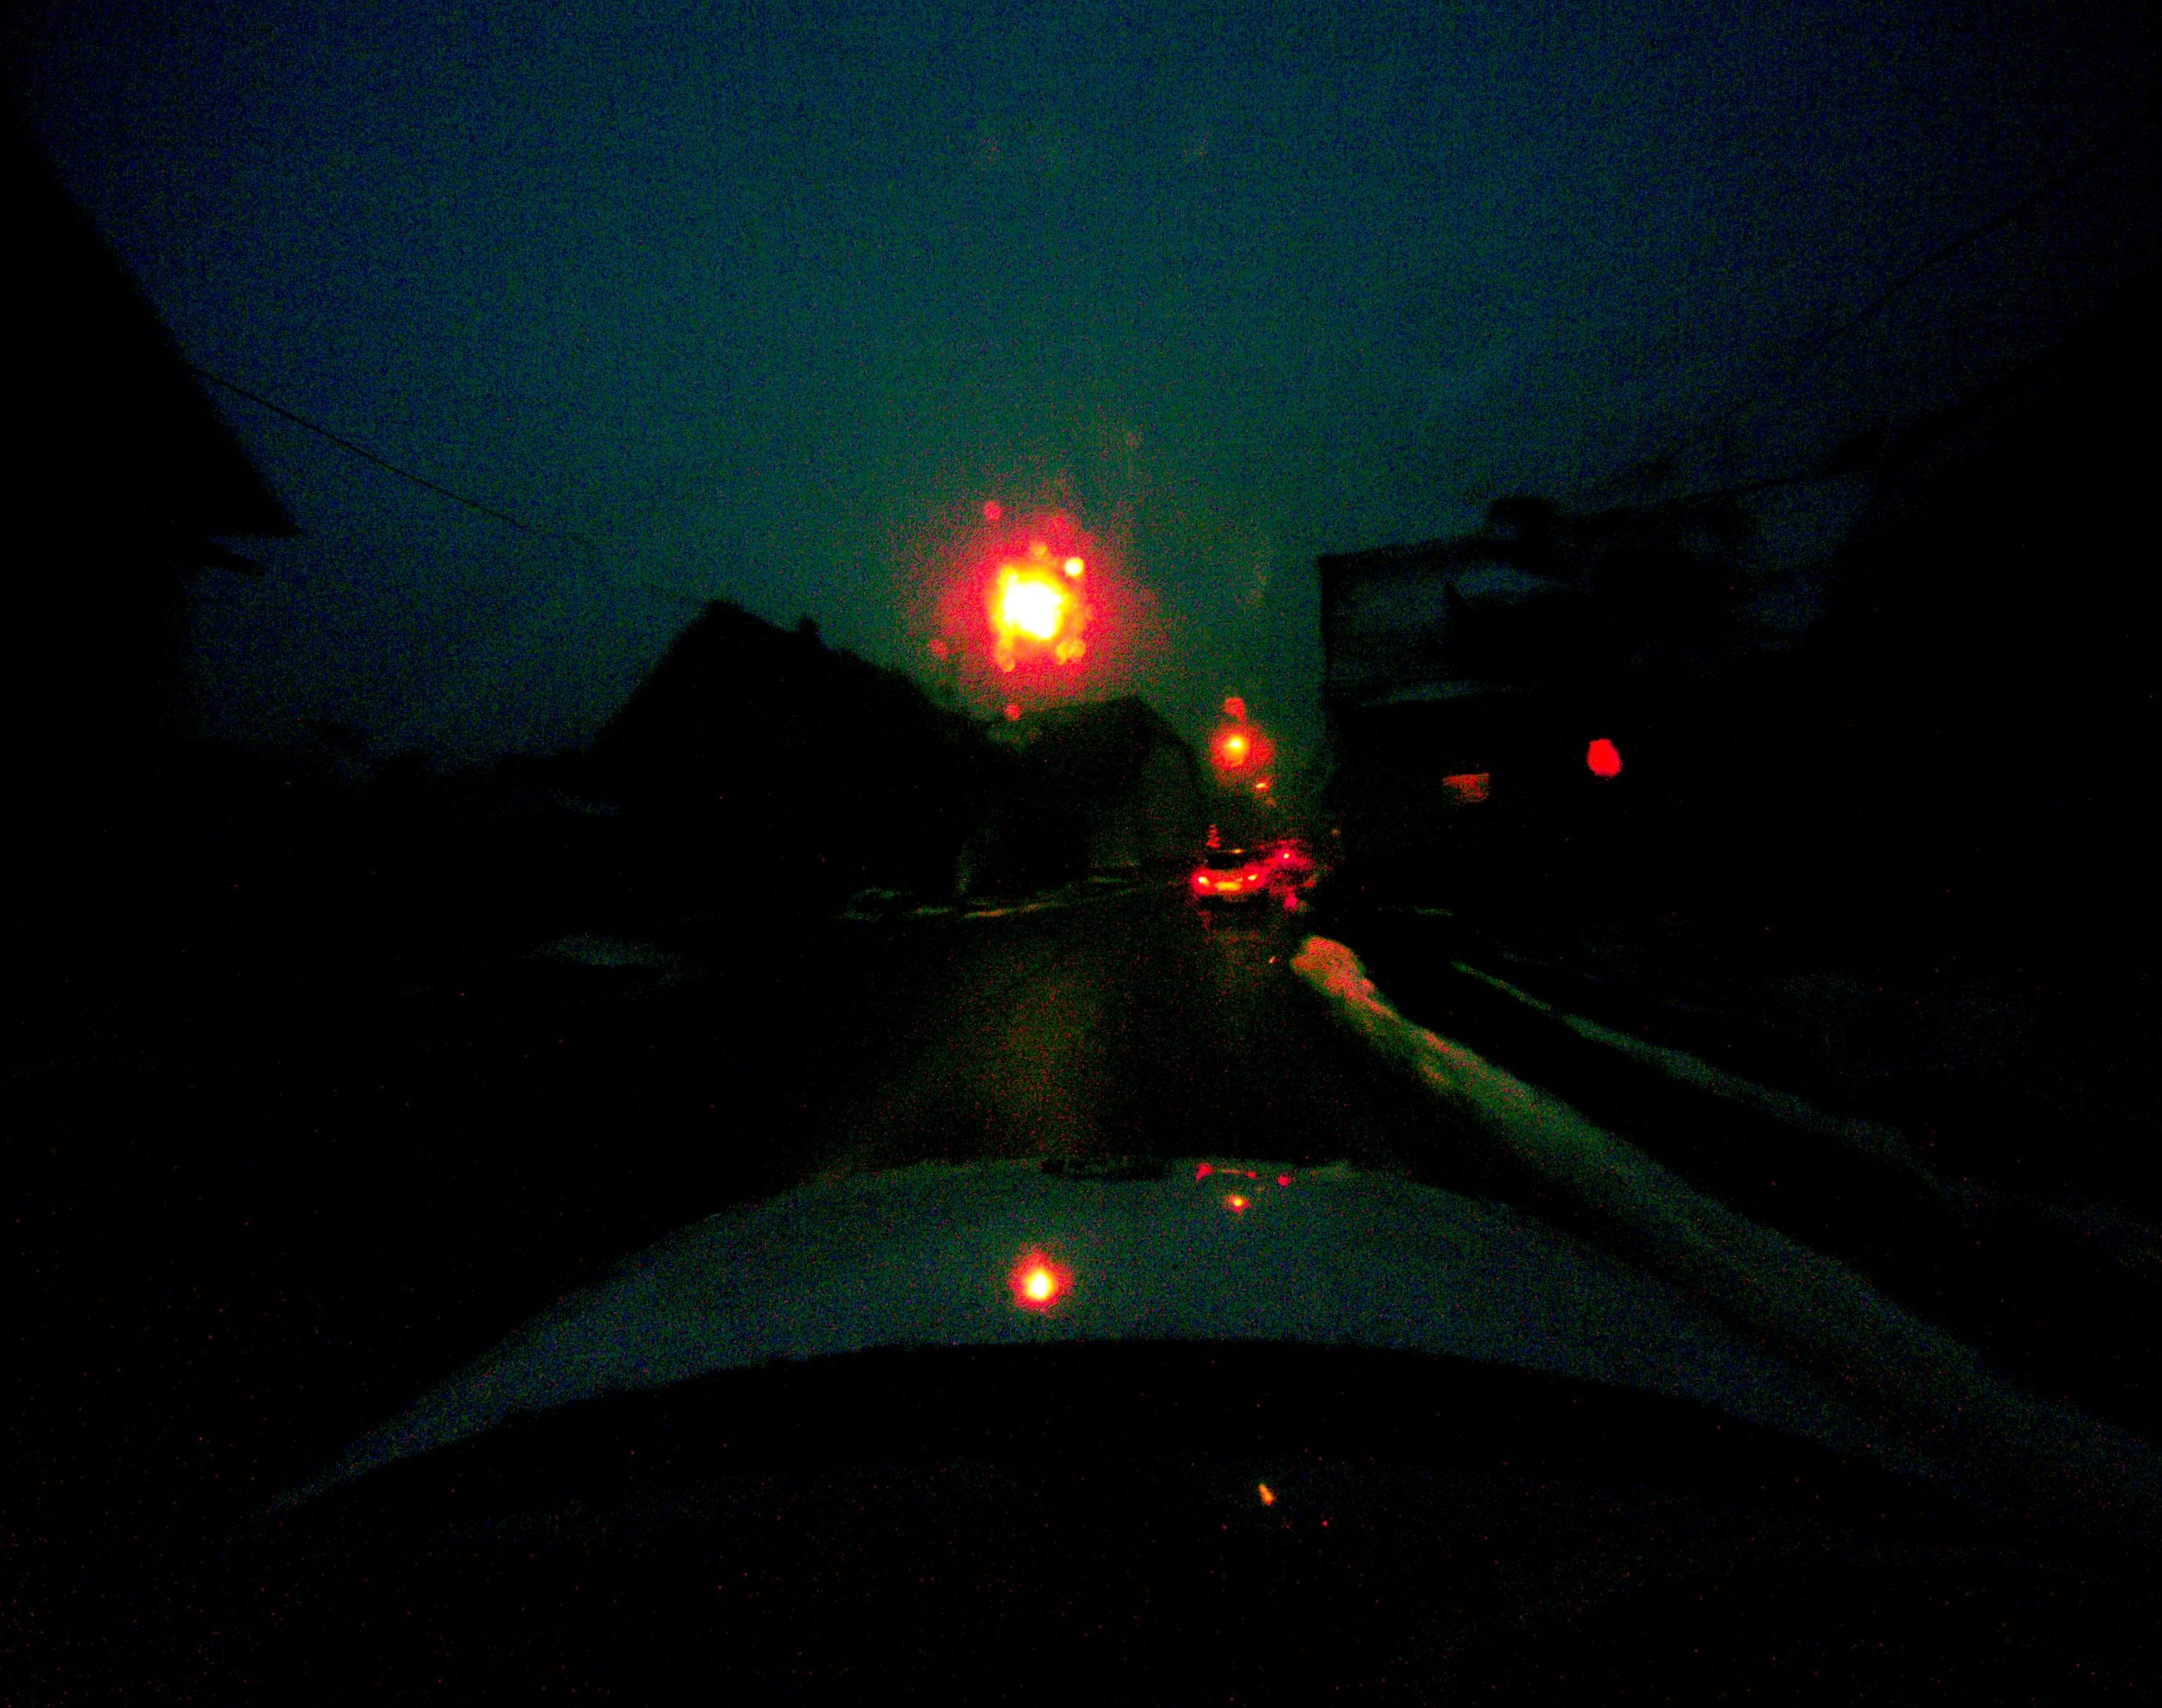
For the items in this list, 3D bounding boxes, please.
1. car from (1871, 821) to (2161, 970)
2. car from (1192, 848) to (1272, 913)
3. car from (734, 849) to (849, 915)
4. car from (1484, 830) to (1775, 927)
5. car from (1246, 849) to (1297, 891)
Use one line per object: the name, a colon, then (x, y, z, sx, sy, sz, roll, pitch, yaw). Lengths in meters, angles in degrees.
car: (10.702, 0.382, 8.103, 1.767, 1.373, 3.953, 0, 2, -42)
car: (4.217, 0.690, 22.307, 1.632, 1.596, 3.716, -2, -1, 18)
car: (-7.316, 0.695, 20.985, 1.871, 1.504, 3.991, -1, -1, -6)
car: (9.678, 0.417, 14.743, 3.959, 1.596, 1.918, 0, 0, 14)
car: (7.853, 0.636, 33.402, 1.632, 1.596, 3.717, -2, -1, 19)
